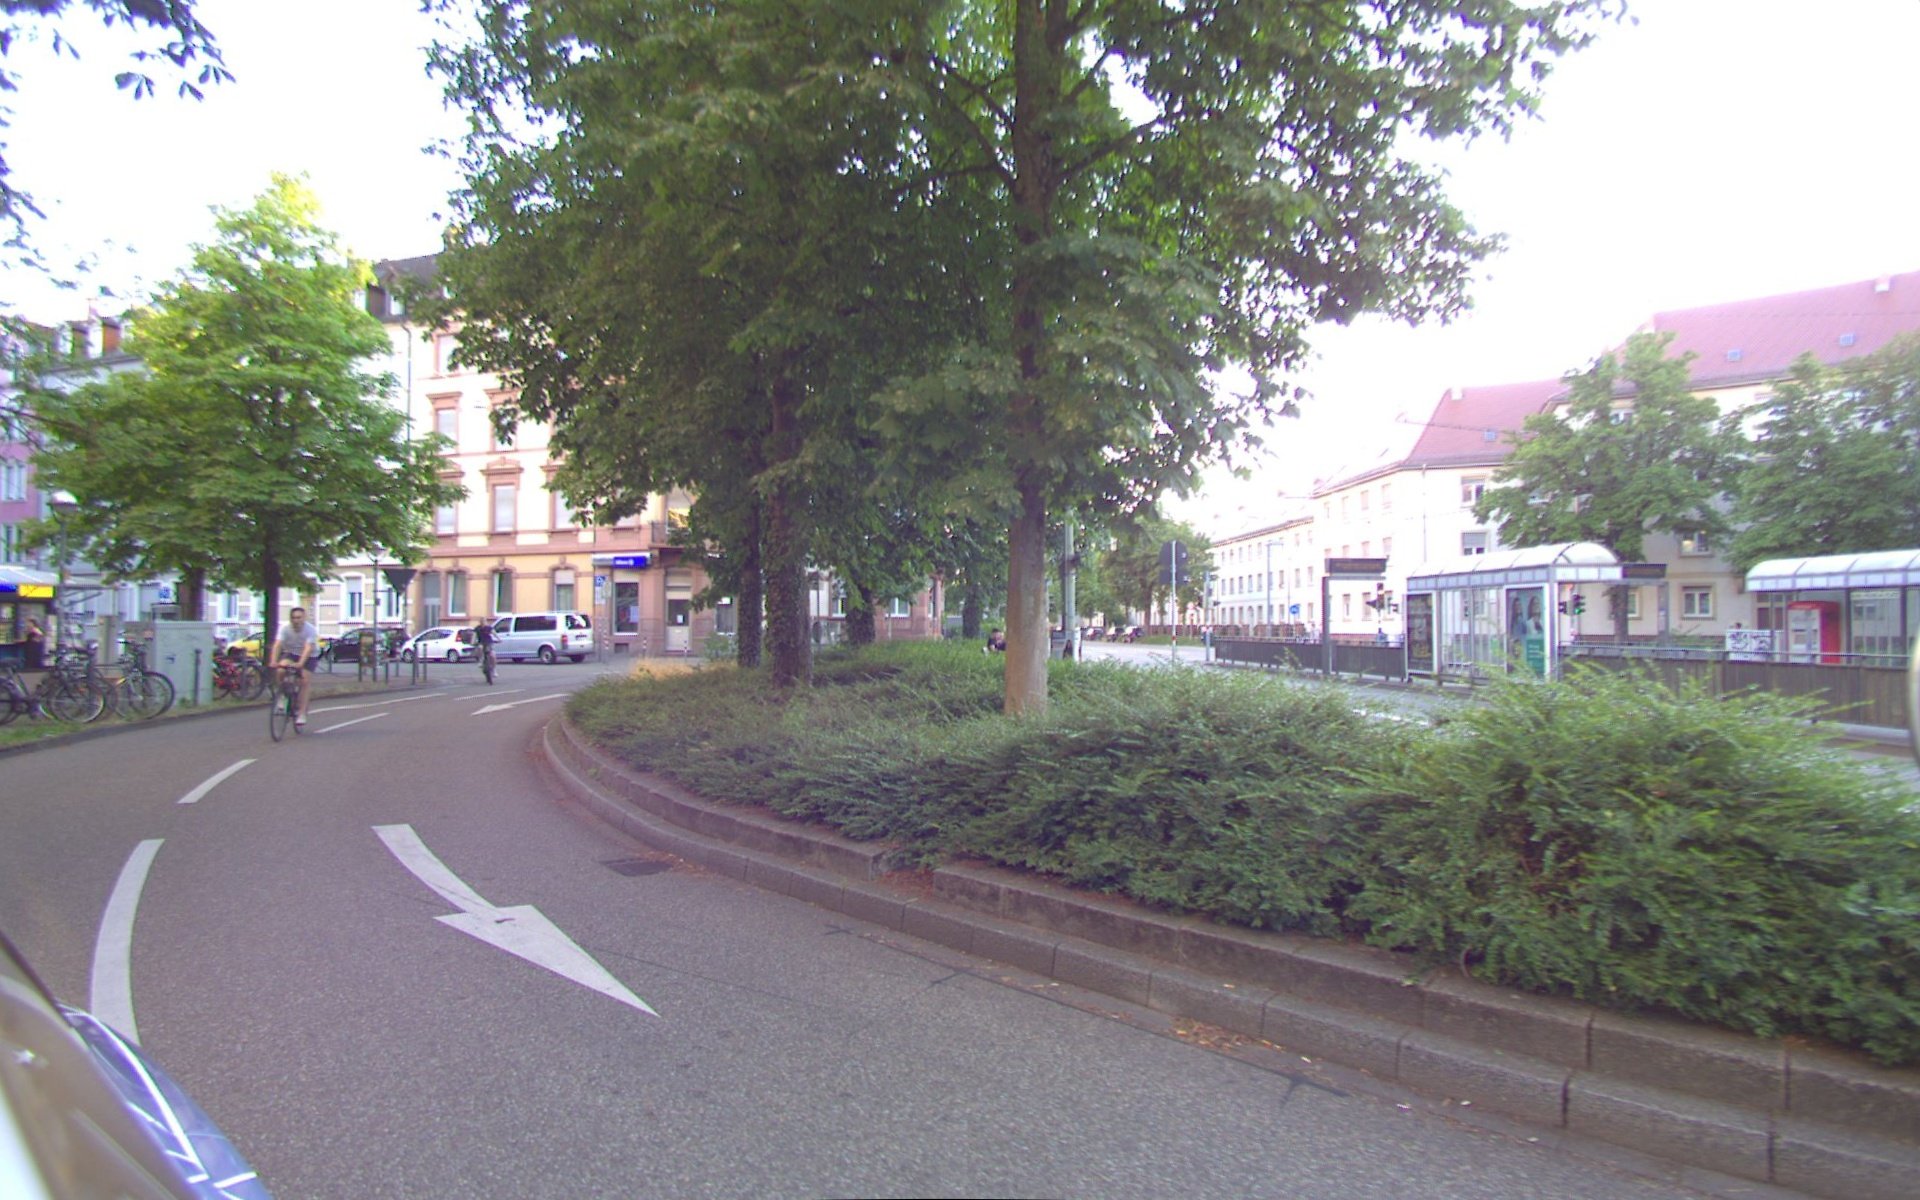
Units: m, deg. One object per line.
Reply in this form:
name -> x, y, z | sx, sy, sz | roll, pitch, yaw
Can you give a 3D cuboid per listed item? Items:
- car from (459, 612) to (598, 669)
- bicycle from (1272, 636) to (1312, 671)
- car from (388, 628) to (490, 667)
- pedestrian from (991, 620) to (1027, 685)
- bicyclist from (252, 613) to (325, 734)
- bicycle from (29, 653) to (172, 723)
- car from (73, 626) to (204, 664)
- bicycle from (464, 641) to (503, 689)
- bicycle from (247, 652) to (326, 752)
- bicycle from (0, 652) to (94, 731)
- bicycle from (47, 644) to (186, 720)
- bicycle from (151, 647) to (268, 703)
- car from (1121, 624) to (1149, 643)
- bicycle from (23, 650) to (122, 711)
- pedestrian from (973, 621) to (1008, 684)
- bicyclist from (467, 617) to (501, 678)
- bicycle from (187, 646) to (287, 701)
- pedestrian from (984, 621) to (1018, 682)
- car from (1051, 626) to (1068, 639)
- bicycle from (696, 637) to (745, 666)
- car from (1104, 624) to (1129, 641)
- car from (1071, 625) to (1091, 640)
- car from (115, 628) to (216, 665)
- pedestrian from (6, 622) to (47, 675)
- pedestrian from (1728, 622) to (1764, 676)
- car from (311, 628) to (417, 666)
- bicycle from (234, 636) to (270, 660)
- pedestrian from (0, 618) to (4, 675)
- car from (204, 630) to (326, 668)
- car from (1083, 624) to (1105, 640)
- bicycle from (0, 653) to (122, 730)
car -> -16.830, 1.556, 39.472 | 4.966, 2.072, 2.034 | -1, 0, 20
bicycle -> 10.436, 1.660, 31.856 | 0.538, 1.059, 1.856 | 0, -2, -3
car -> -21.330, 1.921, 41.445 | 3.584, 1.502, 1.679 | -1, 0, 18
pedestrian -> 1.104, 1.186, 22.896 | 0.650, 1.442, 0.614 | -1, -2, 20
bicyclist -> -8.797, 0.941, 13.291 | 0.674, 1.524, 0.976 | 1, -2, -28
bicycle -> -13.234, 1.338, 15.623 | 1.581, 1.028, 0.556 | 1, -2, -14
car -> -34.283, 1.860, 42.269 | 4.802, 1.528, 1.988 | -1, -2, 19
bicycle -> -12.155, 1.636, 25.789 | 0.675, 1.160, 2.121 | 1, -2, -32
bicycle -> -8.784, 1.281, 13.267 | 0.674, 1.160, 2.121 | 1, -2, -29
bicycle -> -13.294, 1.276, 14.272 | 1.580, 1.084, 0.420 | 1, -2, -18
bicycle -> -13.348, 1.279, 16.055 | 1.581, 1.157, 0.556 | 1, -2, -14
bicycle -> -14.275, 1.420, 19.269 | 1.871, 1.047, 0.432 | 0, -2, -2
car -> 17.638, 3.331, 102.016 | 1.882, 1.864, 4.003 | 0, -2, -3
bicycle -> -15.438, 1.379, 17.662 | 0.425, 0.976, 1.730 | 0, -2, -9
pedestrian -> 0.709, 1.210, 23.638 | 0.650, 1.442, 0.614 | -1, -2, 20
bicyclist -> -12.129, 1.204, 25.769 | 0.675, 1.524, 0.976 | 1, -2, -32
bicycle -> -14.024, 1.422, 19.649 | 1.584, 1.047, 0.432 | 0, -2, -2
pedestrian -> 0.984, 1.233, 24.281 | 0.650, 1.442, 0.614 | -1, -2, 20
car -> 14.683, 4.838, 149.599 | 1.882, 1.864, 4.003 | 0, -2, -3
bicycle -> -9.326, 2.001, 39.420 | 1.776, 1.091, 0.559 | 0, -1, 6
car -> 17.099, 3.555, 110.903 | 1.882, 1.864, 4.003 | 0, -2, -3
car -> 15.730, 4.237, 132.023 | 1.882, 1.864, 4.003 | 0, -2, -3
car -> -36.390, 2.125, 46.352 | 4.114, 1.605, 1.794 | -1, 0, 21
pedestrian -> -27.608, 1.429, 29.938 | 0.581, 1.551, 0.680 | 0, -2, -11
pedestrian -> 31.481, 1.947, 40.533 | 1.060, 2.101, 1.000 | -2, -2, 42
car -> -24.958, 1.959, 42.410 | 3.708, 1.502, 1.726 | -1, 0, 15
bicycle -> -34.453, 2.321, 49.234 | 1.849, 1.149, 0.478 | -1, -2, 20
pedestrian -> -28.121, 1.350, 29.135 | 0.581, 1.650, 0.680 | 0, -2, -11
car -> -30.356, 2.130, 44.216 | 4.760, 1.537, 1.835 | -1, 0, 17
car -> 16.191, 3.855, 122.738 | 1.882, 1.864, 4.003 | 0, -2, -3
bicycle -> -13.239, 1.314, 14.688 | 1.580, 1.071, 0.420 | 1, -2, -18
